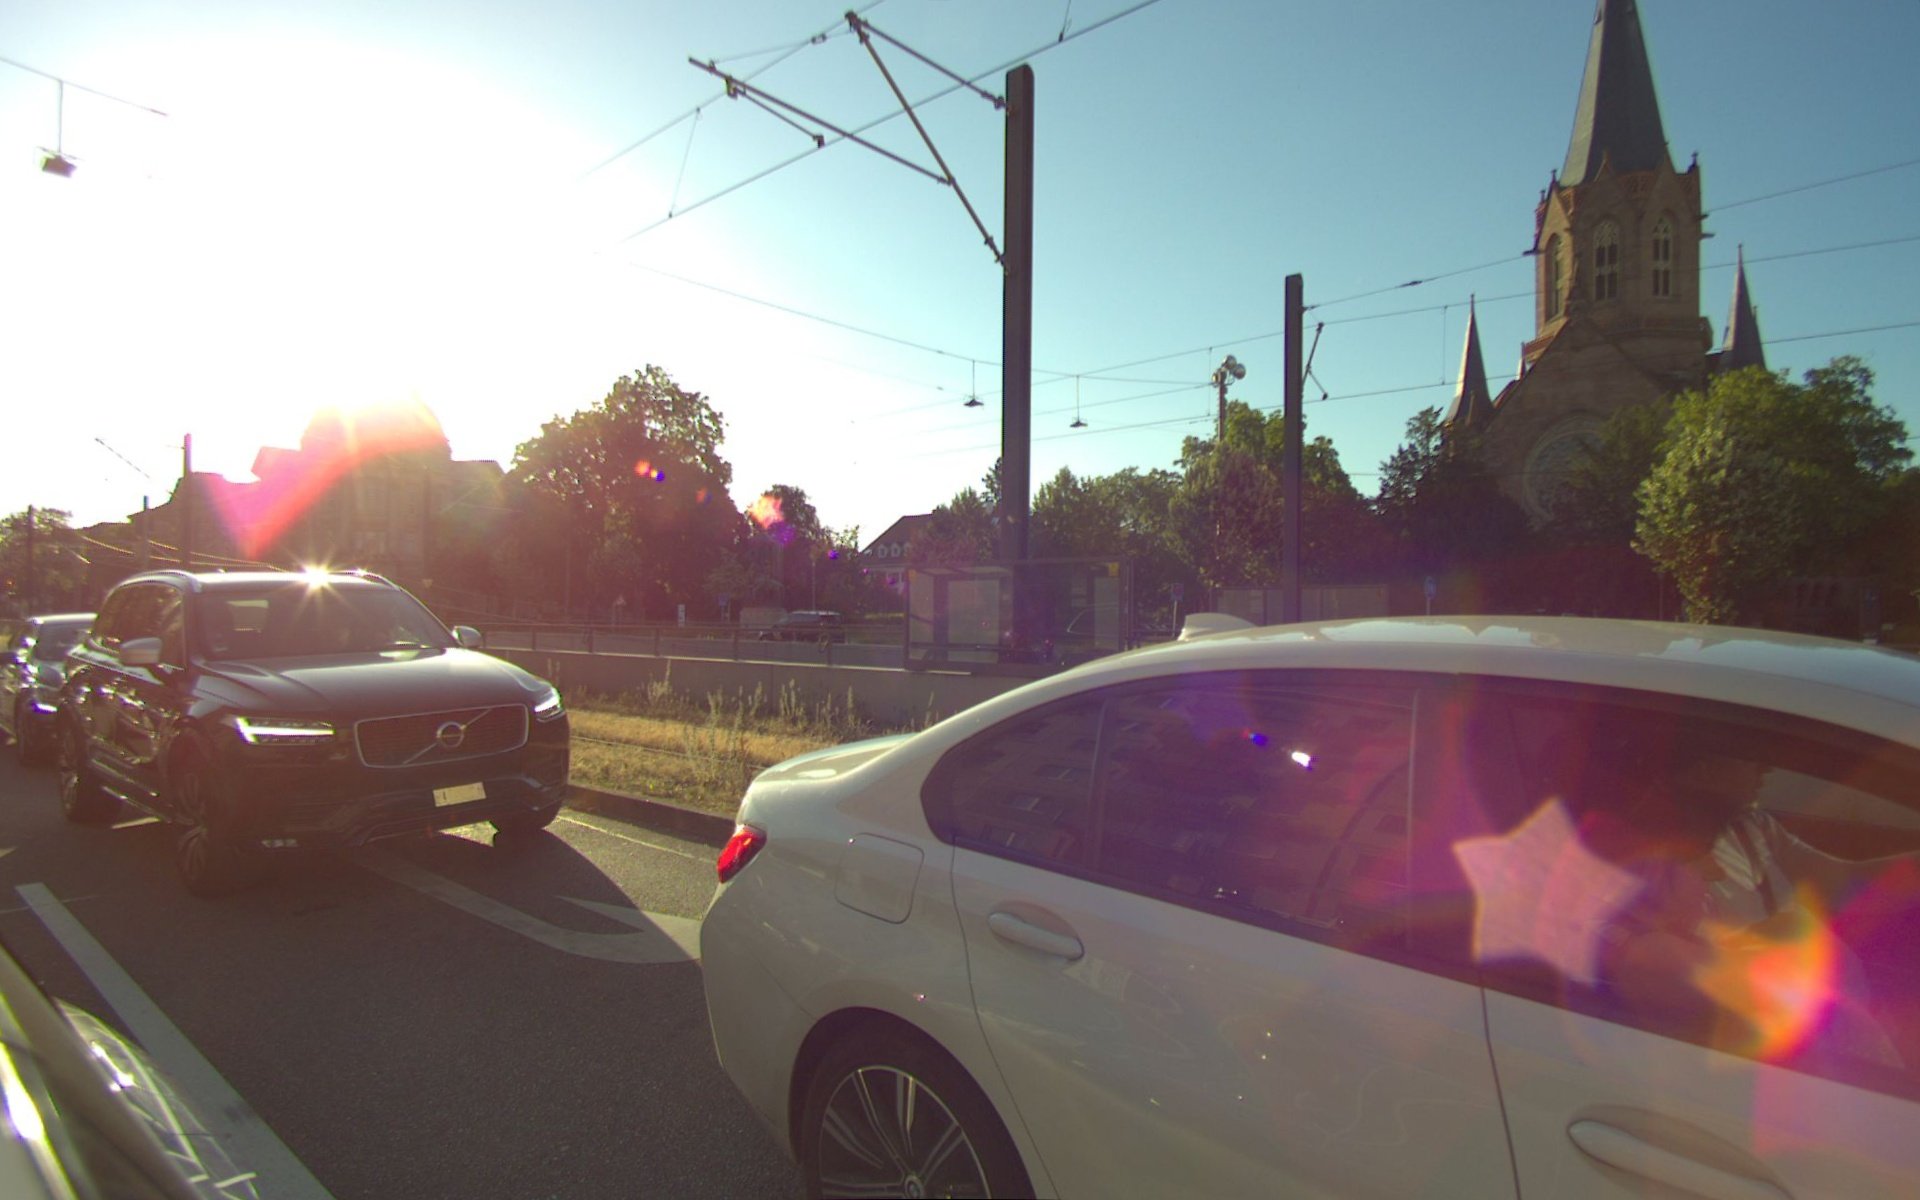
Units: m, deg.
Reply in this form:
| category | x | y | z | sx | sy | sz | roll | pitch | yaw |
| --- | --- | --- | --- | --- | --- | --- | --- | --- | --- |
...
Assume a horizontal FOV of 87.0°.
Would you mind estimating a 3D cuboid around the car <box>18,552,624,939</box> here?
| category | x | y | z | sx | sy | sz | roll | pitch | yaw |
| --- | --- | --- | --- | --- | --- | --- | --- | --- | --- |
| car | -4.506 | 0.653 | 6.788 | 4.845 | 1.725 | 1.932 | -1 | 1 | 39 |

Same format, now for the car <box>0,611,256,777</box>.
| category | x | y | z | sx | sy | sz | roll | pitch | yaw |
| --- | --- | --- | --- | --- | --- | --- | --- | --- | --- |
| car | -9.245 | 0.860 | 10.914 | 3.917 | 1.411 | 1.792 | -1 | 1 | 41 |

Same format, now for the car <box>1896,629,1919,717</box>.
| category | x | y | z | sx | sy | sz | roll | pitch | yaw |
| --- | --- | --- | --- | --- | --- | --- | --- | --- | --- |
| car | 18.832 | 1.301 | 17.607 | 3.672 | 1.552 | 1.692 | -1 | -2 | 42 |

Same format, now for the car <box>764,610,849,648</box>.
| category | x | y | z | sx | sy | sz | roll | pitch | yaw |
| --- | --- | --- | --- | --- | --- | --- | --- | --- | --- |
| car | -7.165 | 1.339 | 47.084 | 4.089 | 1.708 | 1.692 | -1 | -2 | 42 |

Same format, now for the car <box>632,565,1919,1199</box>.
| category | x | y | z | sx | sy | sz | roll | pitch | yaw |
| --- | --- | --- | --- | --- | --- | --- | --- | --- | --- |
| car | 1.523 | 0.652 | 1.619 | 4.582 | 1.411 | 1.818 | -1 | 1 | 42 |
